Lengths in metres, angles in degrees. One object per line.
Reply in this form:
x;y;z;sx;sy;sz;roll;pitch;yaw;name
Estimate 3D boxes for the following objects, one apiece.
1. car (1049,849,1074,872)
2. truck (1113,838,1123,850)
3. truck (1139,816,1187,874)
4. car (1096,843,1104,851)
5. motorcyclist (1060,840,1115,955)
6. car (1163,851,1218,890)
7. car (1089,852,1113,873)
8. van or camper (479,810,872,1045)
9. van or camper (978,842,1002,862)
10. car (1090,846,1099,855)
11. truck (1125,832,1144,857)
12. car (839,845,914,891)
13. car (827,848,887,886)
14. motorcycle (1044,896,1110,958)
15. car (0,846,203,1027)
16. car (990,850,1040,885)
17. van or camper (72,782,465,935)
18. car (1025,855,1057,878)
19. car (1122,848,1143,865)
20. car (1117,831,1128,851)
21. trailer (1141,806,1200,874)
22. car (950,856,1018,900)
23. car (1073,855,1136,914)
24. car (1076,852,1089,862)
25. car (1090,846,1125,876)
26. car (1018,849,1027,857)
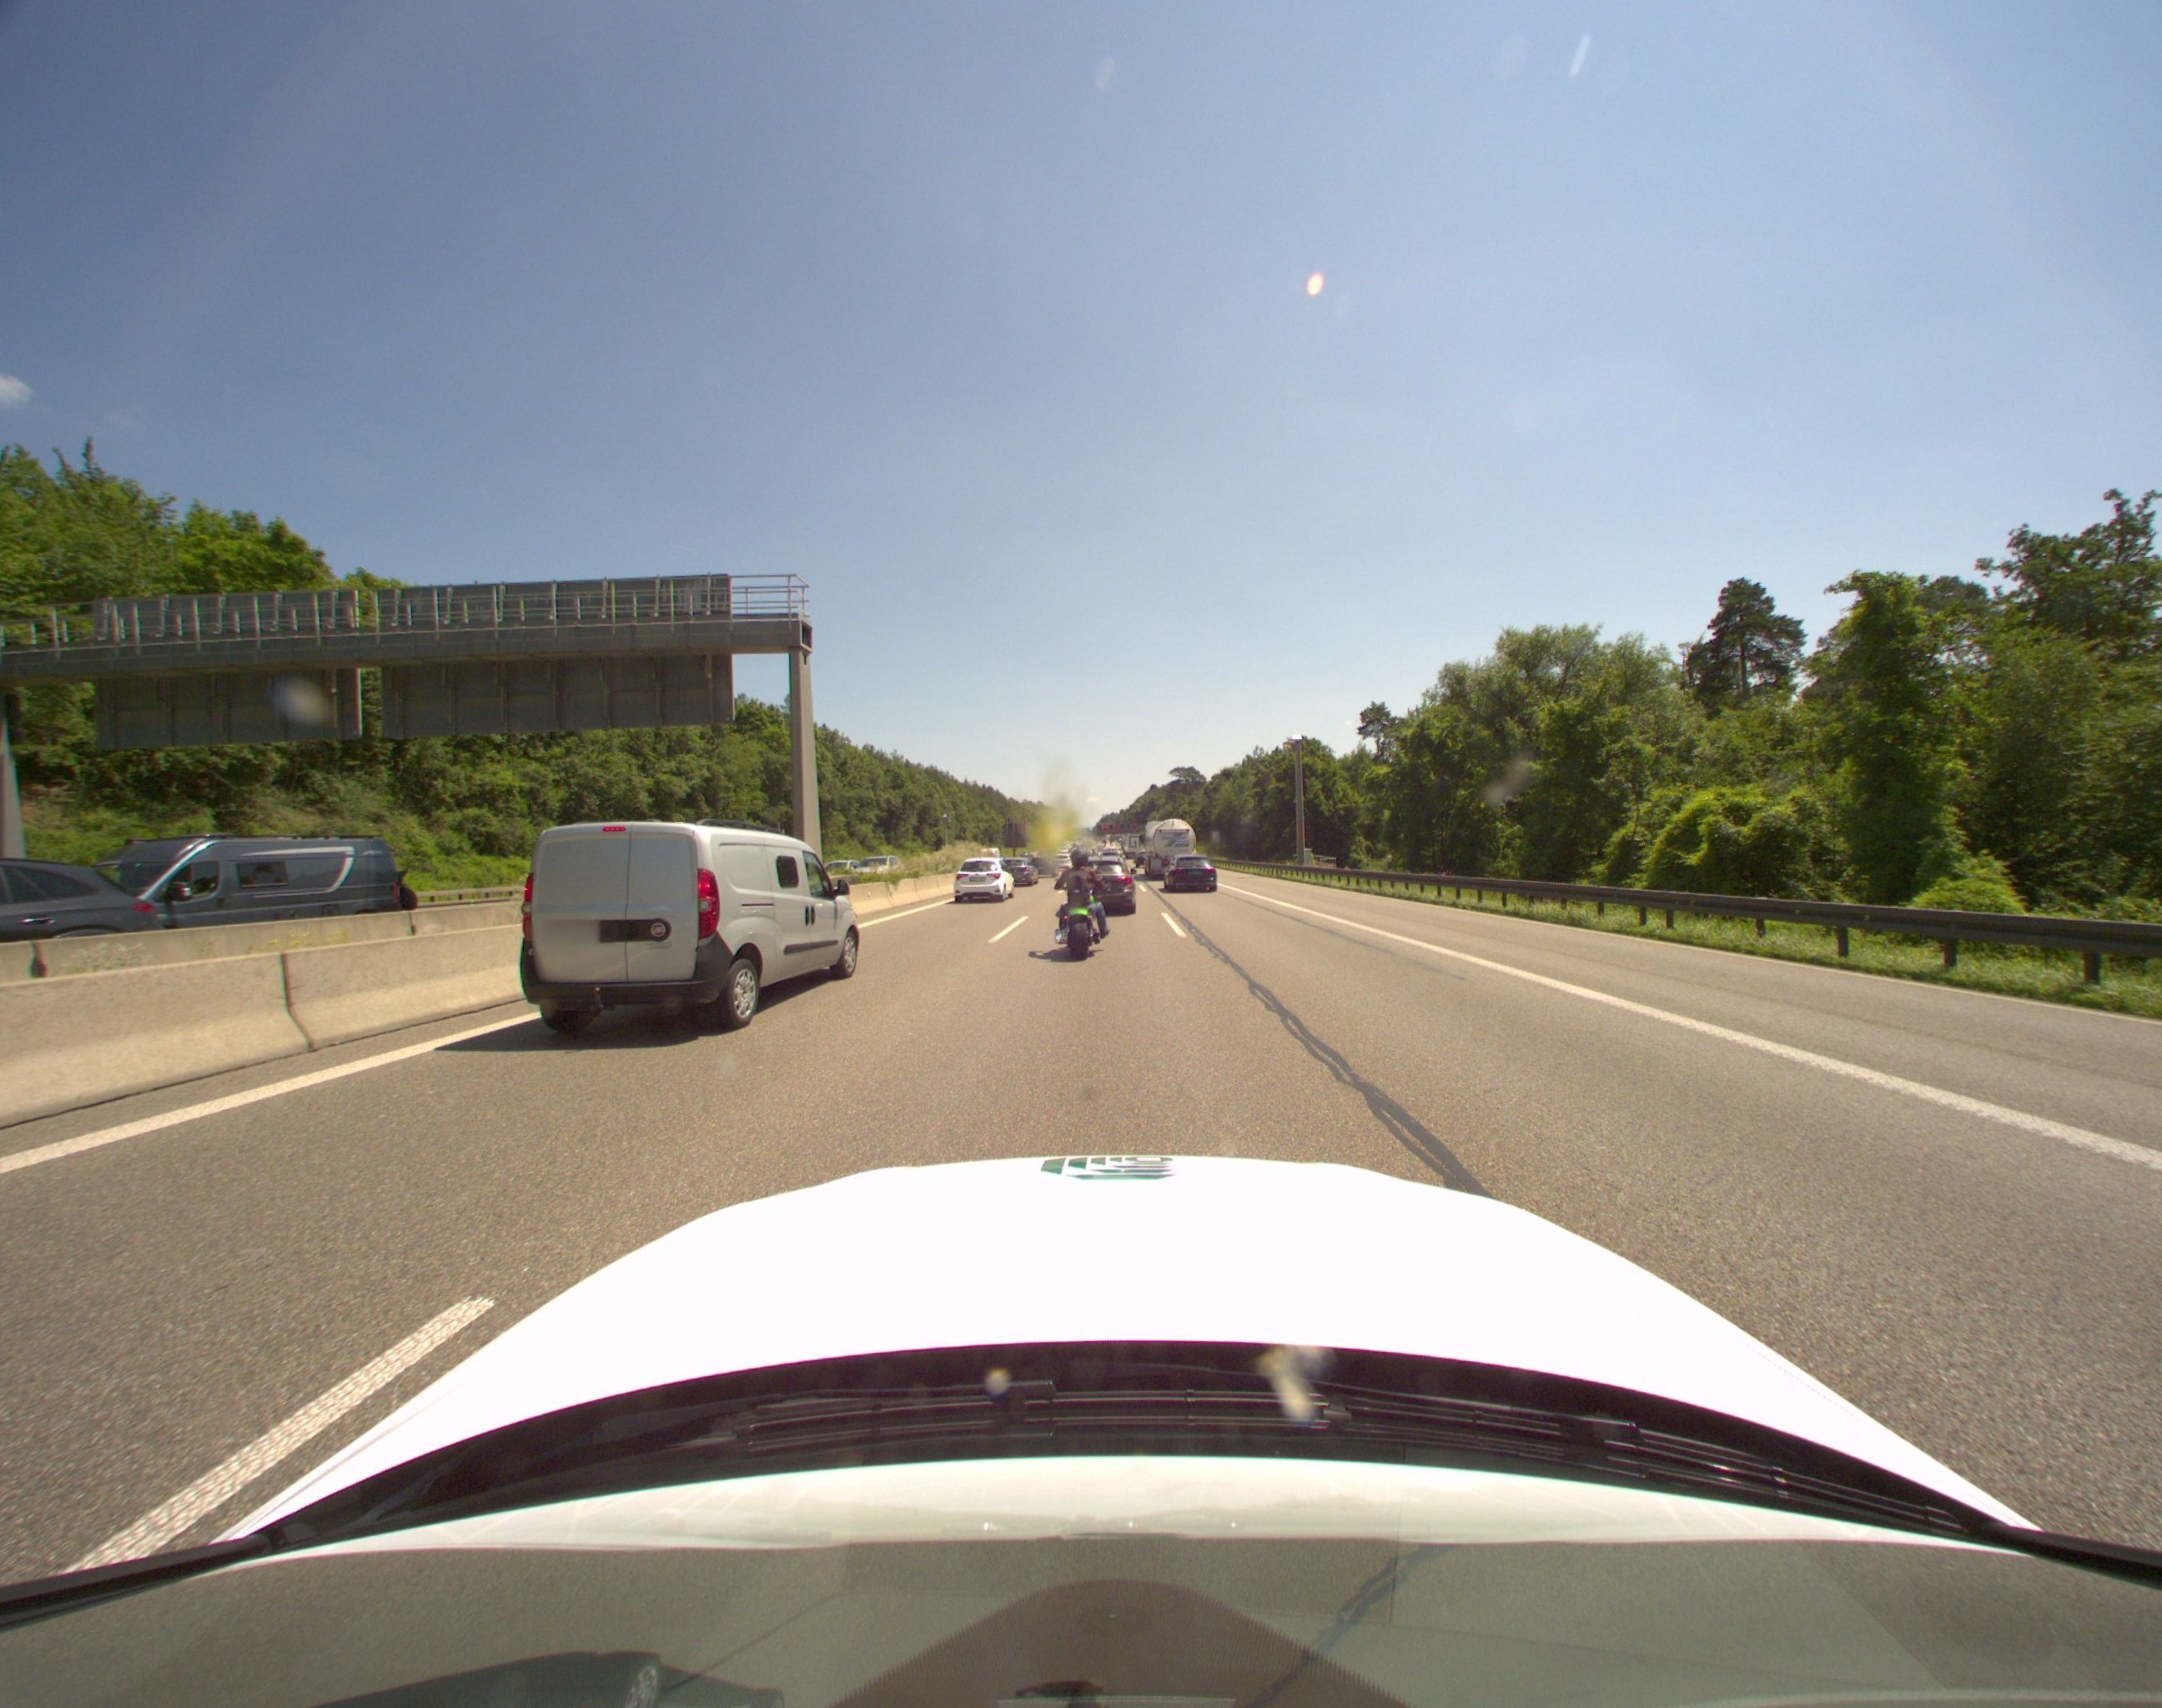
-1.729;0.623;72.341;1.986;2.014;4.001;-1;-1;2;car
11.049;-2.972;242.965;2.686;3.405;10.483;-2;-1;2;truck
5.455;-0.486;55.308;2.817;3.671;6.432;-1;-1;2;truck
5.092;-1.866;219.838;1.986;2.014;4.002;-2;-1;2;car
0.115;0.650;12.535;0.796;1.688;1.017;-1;-2;2;motorcyclist
4.358;0.668;33.021;1.785;1.458;4.626;-1;-1;2;car
1.725;0.756;70.305;1.986;1.775;4.001;-1;-1;1;car
-3.866;0.595;8.864;1.846;1.880;4.563;-1;0;2;van or camper
-11.310;-0.209;101.619;2.143;2.423;6.199;-1;-1;2;van or camper
2.703;-0.667;163.228;1.654;1.599;4.003;-1;-1;3;car
8.779;-1.432;132.731;2.840;3.821;7.197;-1;-1;5;truck
-9.755;0.625;39.282;1.985;2.013;5.390;-1;0;3;car
-12.557;0.689;46.008;1.985;2.013;4.275;-1;0;3;car
-0.011;1.117;12.892;0.932;0.793;2.300;-1;-1;2;motorcycle
-11.127;0.773;7.087;1.986;1.692;4.514;-1;-1;1;car
-3.282;0.703;41.373;1.986;1.684;4.332;-1;-1;2;car
-17.797;0.150;18.654;2.146;2.859;6.654;-1;-1;1;van or camper
-2.642;0.864;54.184;1.988;1.464;3.996;-1;-1;-2;car
4.857;0.236;77.472;1.770;1.527;3.999;-1;-1;0;car
8.745;-2.656;171.150;2.159;3.893;9.334;-1;-1;2;car
5.247;-0.631;49.527;2.817;3.671;10.737;-1;-1;2;trailer
-3.323;0.821;28.623;1.769;1.411;4.002;-1;-1;2;car
0.659;0.762;21.944;1.535;1.450;4.002;-1;-1;2;car
0.306;0.448;122.910;1.756;1.442;4.003;0;0;3;car
1.580;0.454;48.825;1.986;1.711;4.001;-1;-1;1;car
-14.719;-0.254;204.700;1.986;2.013;4.001;-1;0;1;car
